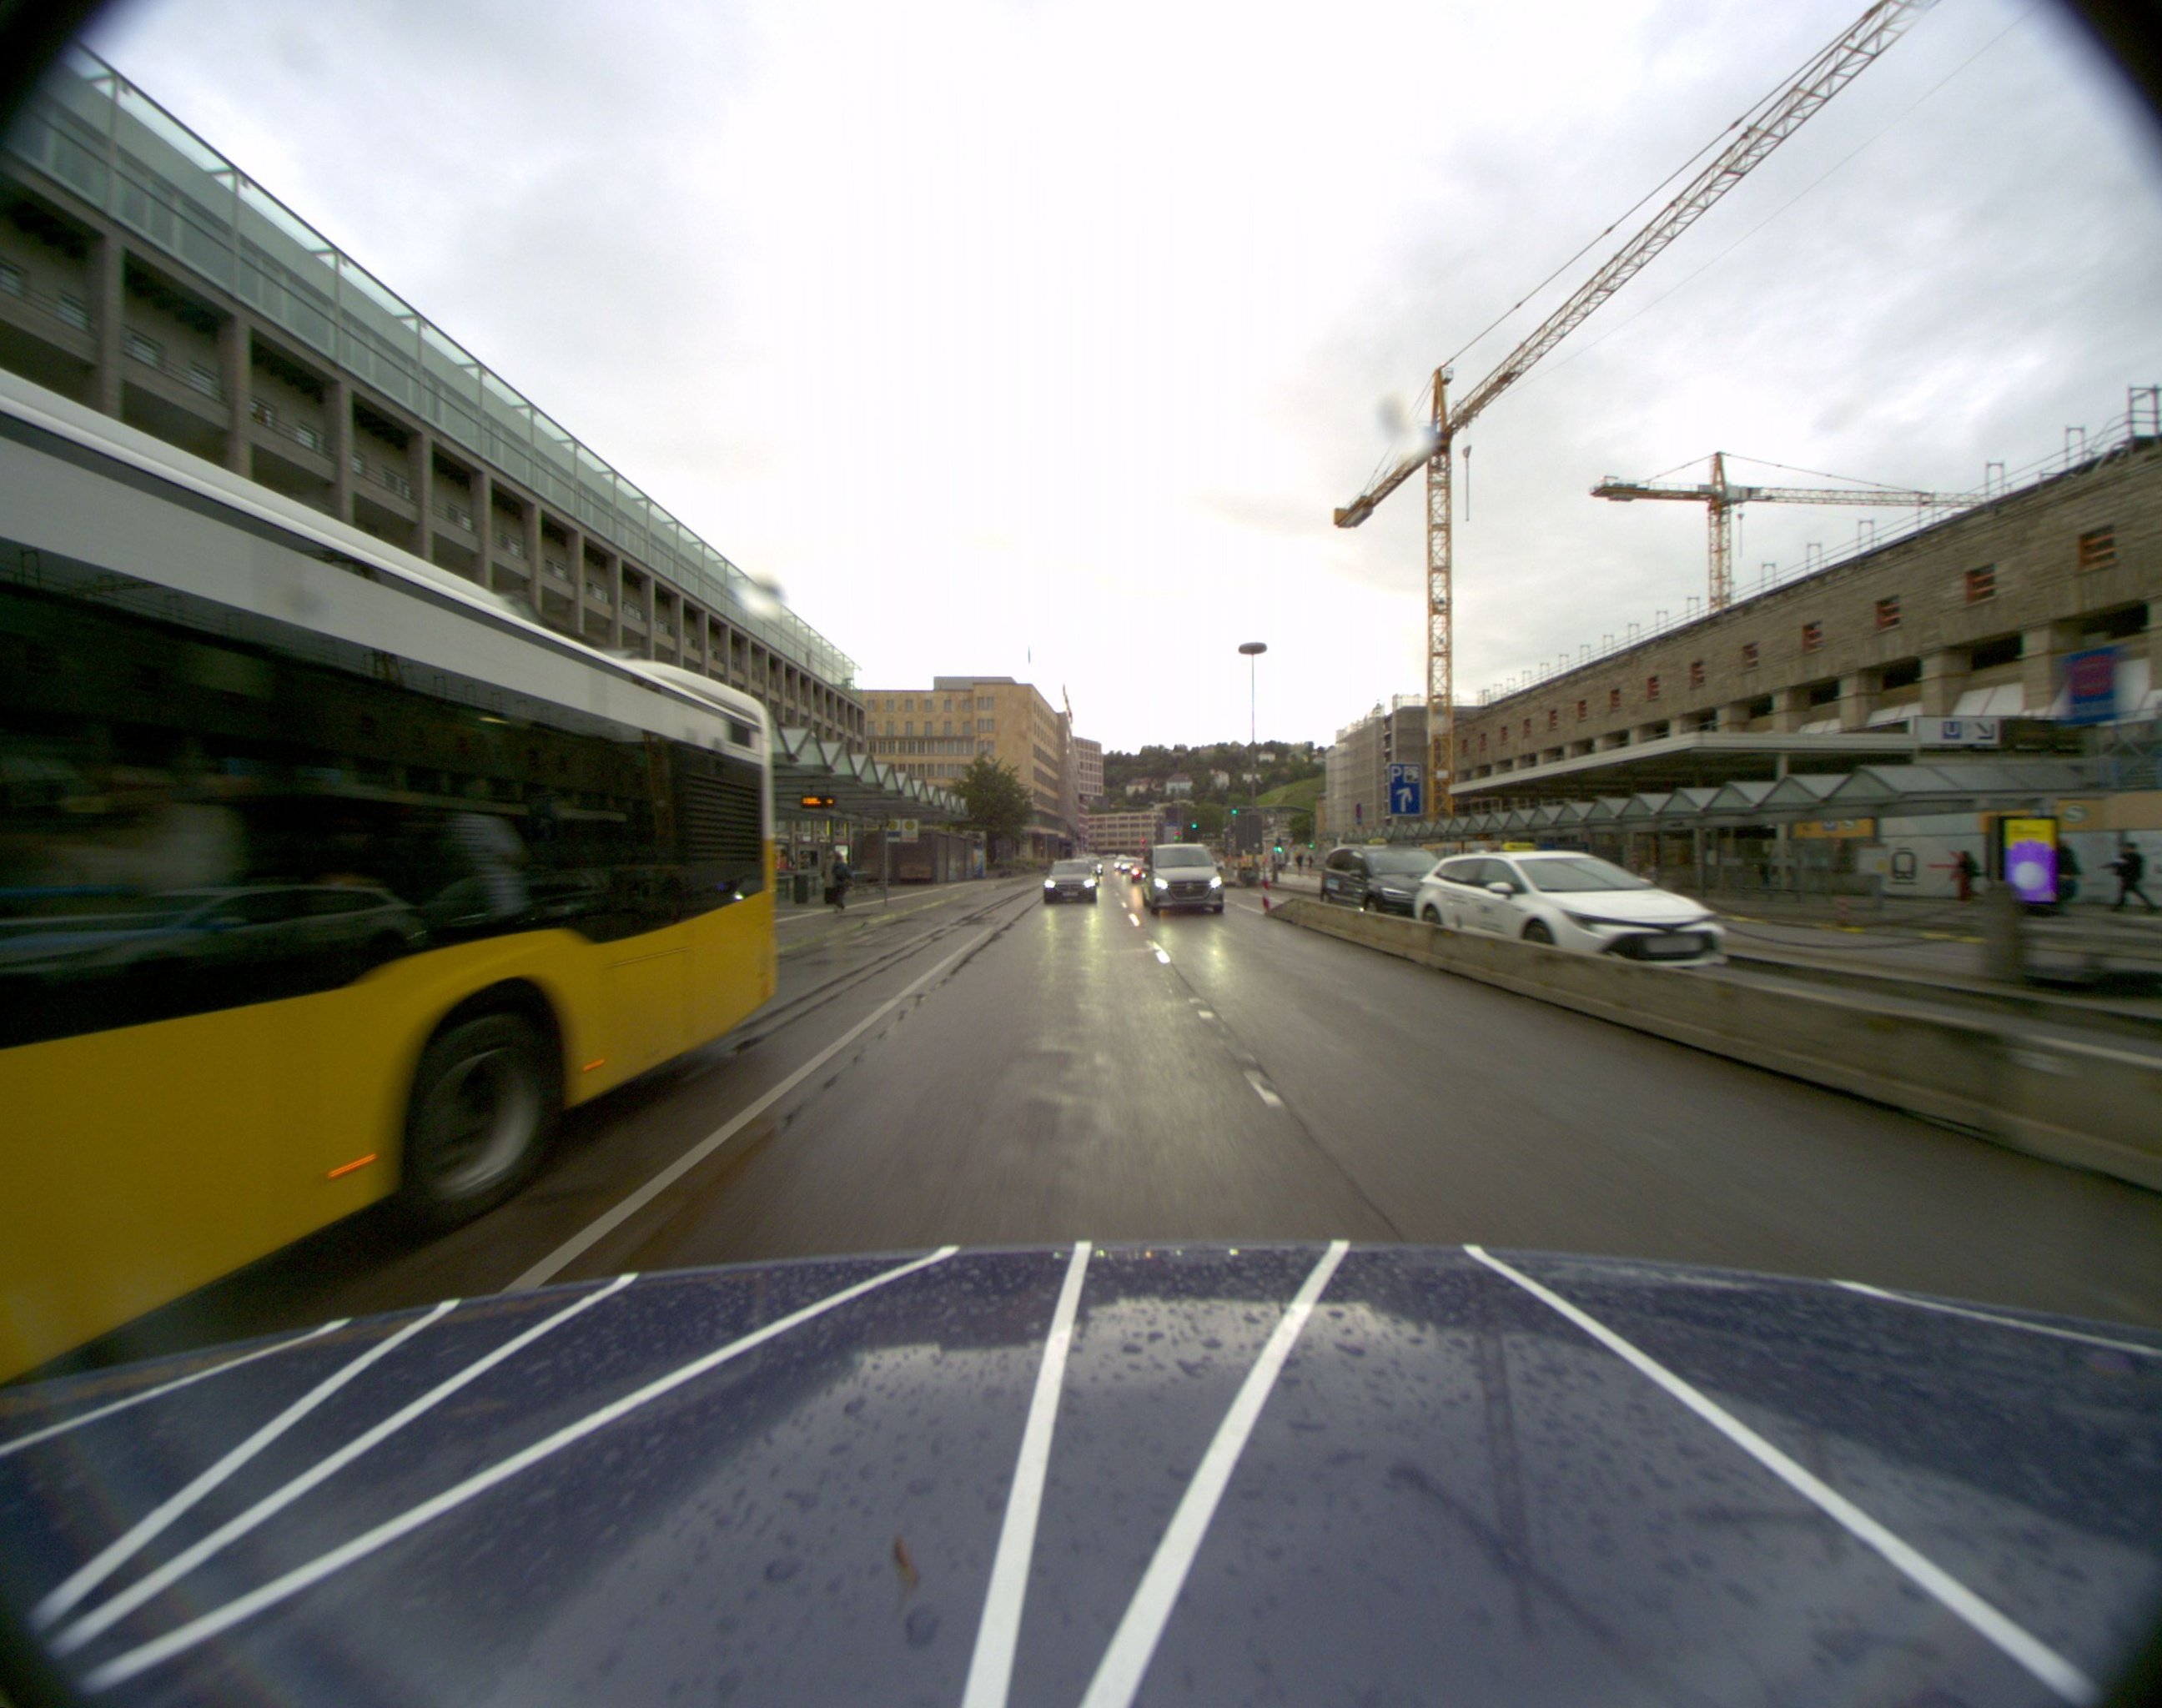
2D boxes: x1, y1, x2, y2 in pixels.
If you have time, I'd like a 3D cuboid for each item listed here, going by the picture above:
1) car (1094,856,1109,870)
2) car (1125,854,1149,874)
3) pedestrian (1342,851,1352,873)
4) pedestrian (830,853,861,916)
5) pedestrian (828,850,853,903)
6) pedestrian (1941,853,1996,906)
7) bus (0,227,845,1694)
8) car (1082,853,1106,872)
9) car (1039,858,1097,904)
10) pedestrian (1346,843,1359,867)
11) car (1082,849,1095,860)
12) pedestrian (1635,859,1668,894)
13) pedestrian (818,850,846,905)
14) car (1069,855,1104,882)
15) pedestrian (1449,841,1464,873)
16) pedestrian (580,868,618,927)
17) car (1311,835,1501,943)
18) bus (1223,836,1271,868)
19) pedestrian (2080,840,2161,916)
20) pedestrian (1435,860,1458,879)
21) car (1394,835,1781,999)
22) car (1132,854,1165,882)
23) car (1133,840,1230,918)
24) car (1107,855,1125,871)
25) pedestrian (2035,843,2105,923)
[{"bbox_3d":[2.527,1.107,93.698,1.763,1.582,3.843,-1,1,3],"label":"car"},{"bbox_3d":[5.028,0.881,68.813,1.872,1.747,3.901,-2,1,1],"label":"car"},{"bbox_3d":[22.604,0.675,64.483,0.700,1.780,0.795,-1,0,13],"label":"pedestrian"},{"bbox_3d":[-6.527,0.819,21.064,0.762,1.680,0.997,-1,0,-20],"label":"pedestrian"},{"bbox_3d":[-8.467,0.781,26.793,0.629,1.826,0.642,-1,1,3],"label":"pedestrian"},{"bbox_3d":[26.086,0.737,22.339,0.805,1.538,0.701,-1,0,-4],"label":"pedestrian"},{"bbox_3d":[-3.940,0.241,2.588,3.149,3.229,9.134,-2,1,1],"label":"bus"},{"bbox_3d":[1.221,0.731,67.157,1.998,1.548,3.909,-1,0,3],"label":"car"},{"bbox_3d":[-0.391,0.919,28.042,1.822,1.455,4.700,-2,0,3],"label":"car"},{"bbox_3d":[21.890,0.089,61.240,0.761,1.947,0.822,-1,1,-1],"label":"pedestrian"},{"bbox_3d":[1.334,0.069,128.182,1.998,1.873,4.997,-1,0,3],"label":"car"},{"bbox_3d":[22.130,0.878,29.482,0.701,1.318,0.805,-1,0,0],"label":"pedestrian"},{"bbox_3d":[-8.355,0.769,25.506,0.677,1.826,0.574,-1,1,3],"label":"pedestrian"},{"bbox_3d":[0.385,0.839,45.114,1.876,1.499,4.165,-1,0,3],"label":"car"},{"bbox_3d":[21.517,0.187,43.571,0.679,1.837,0.556,-1,1,-43],"label":"pedestrian"},{"bbox_3d":[-11.544,1.038,18.214,0.553,1.369,0.508,-1,1,-4],"label":"pedestrian"},{"bbox_3d":[6.336,0.602,15.535,1.998,1.851,4.833,0,0,2],"label":"car"},{"bbox_3d":[20.283,-0.307,94.120,2.916,3.557,19.082,1,0,4],"label":"bus"},{"bbox_3d":[26.338,0.580,19.161,0.859,1.830,1.045,-2,1,1],"label":"pedestrian"},{"bbox_3d":[23.043,0.994,47.877,0.952,1.151,1.055,-1,0,2],"label":"pedestrian"},{"bbox_3d":[6.247,0.649,10.294,1.999,1.696,4.832,0,0,-1],"label":"car"},{"bbox_3d":[3.957,0.790,44.922,1.709,1.485,3.670,-2,1,2],"label":"car"},{"bbox_3d":[2.713,0.637,21.760,1.999,1.893,5.250,-2,0,-1],"label":"car"},{"bbox_3d":[3.971,0.999,85.810,1.872,1.715,3.902,-2,1,1],"label":"car"},{"bbox_3d":[23.347,0.670,17.946,0.745,1.830,0.703,-1,1,21],"label":"pedestrian"}]
